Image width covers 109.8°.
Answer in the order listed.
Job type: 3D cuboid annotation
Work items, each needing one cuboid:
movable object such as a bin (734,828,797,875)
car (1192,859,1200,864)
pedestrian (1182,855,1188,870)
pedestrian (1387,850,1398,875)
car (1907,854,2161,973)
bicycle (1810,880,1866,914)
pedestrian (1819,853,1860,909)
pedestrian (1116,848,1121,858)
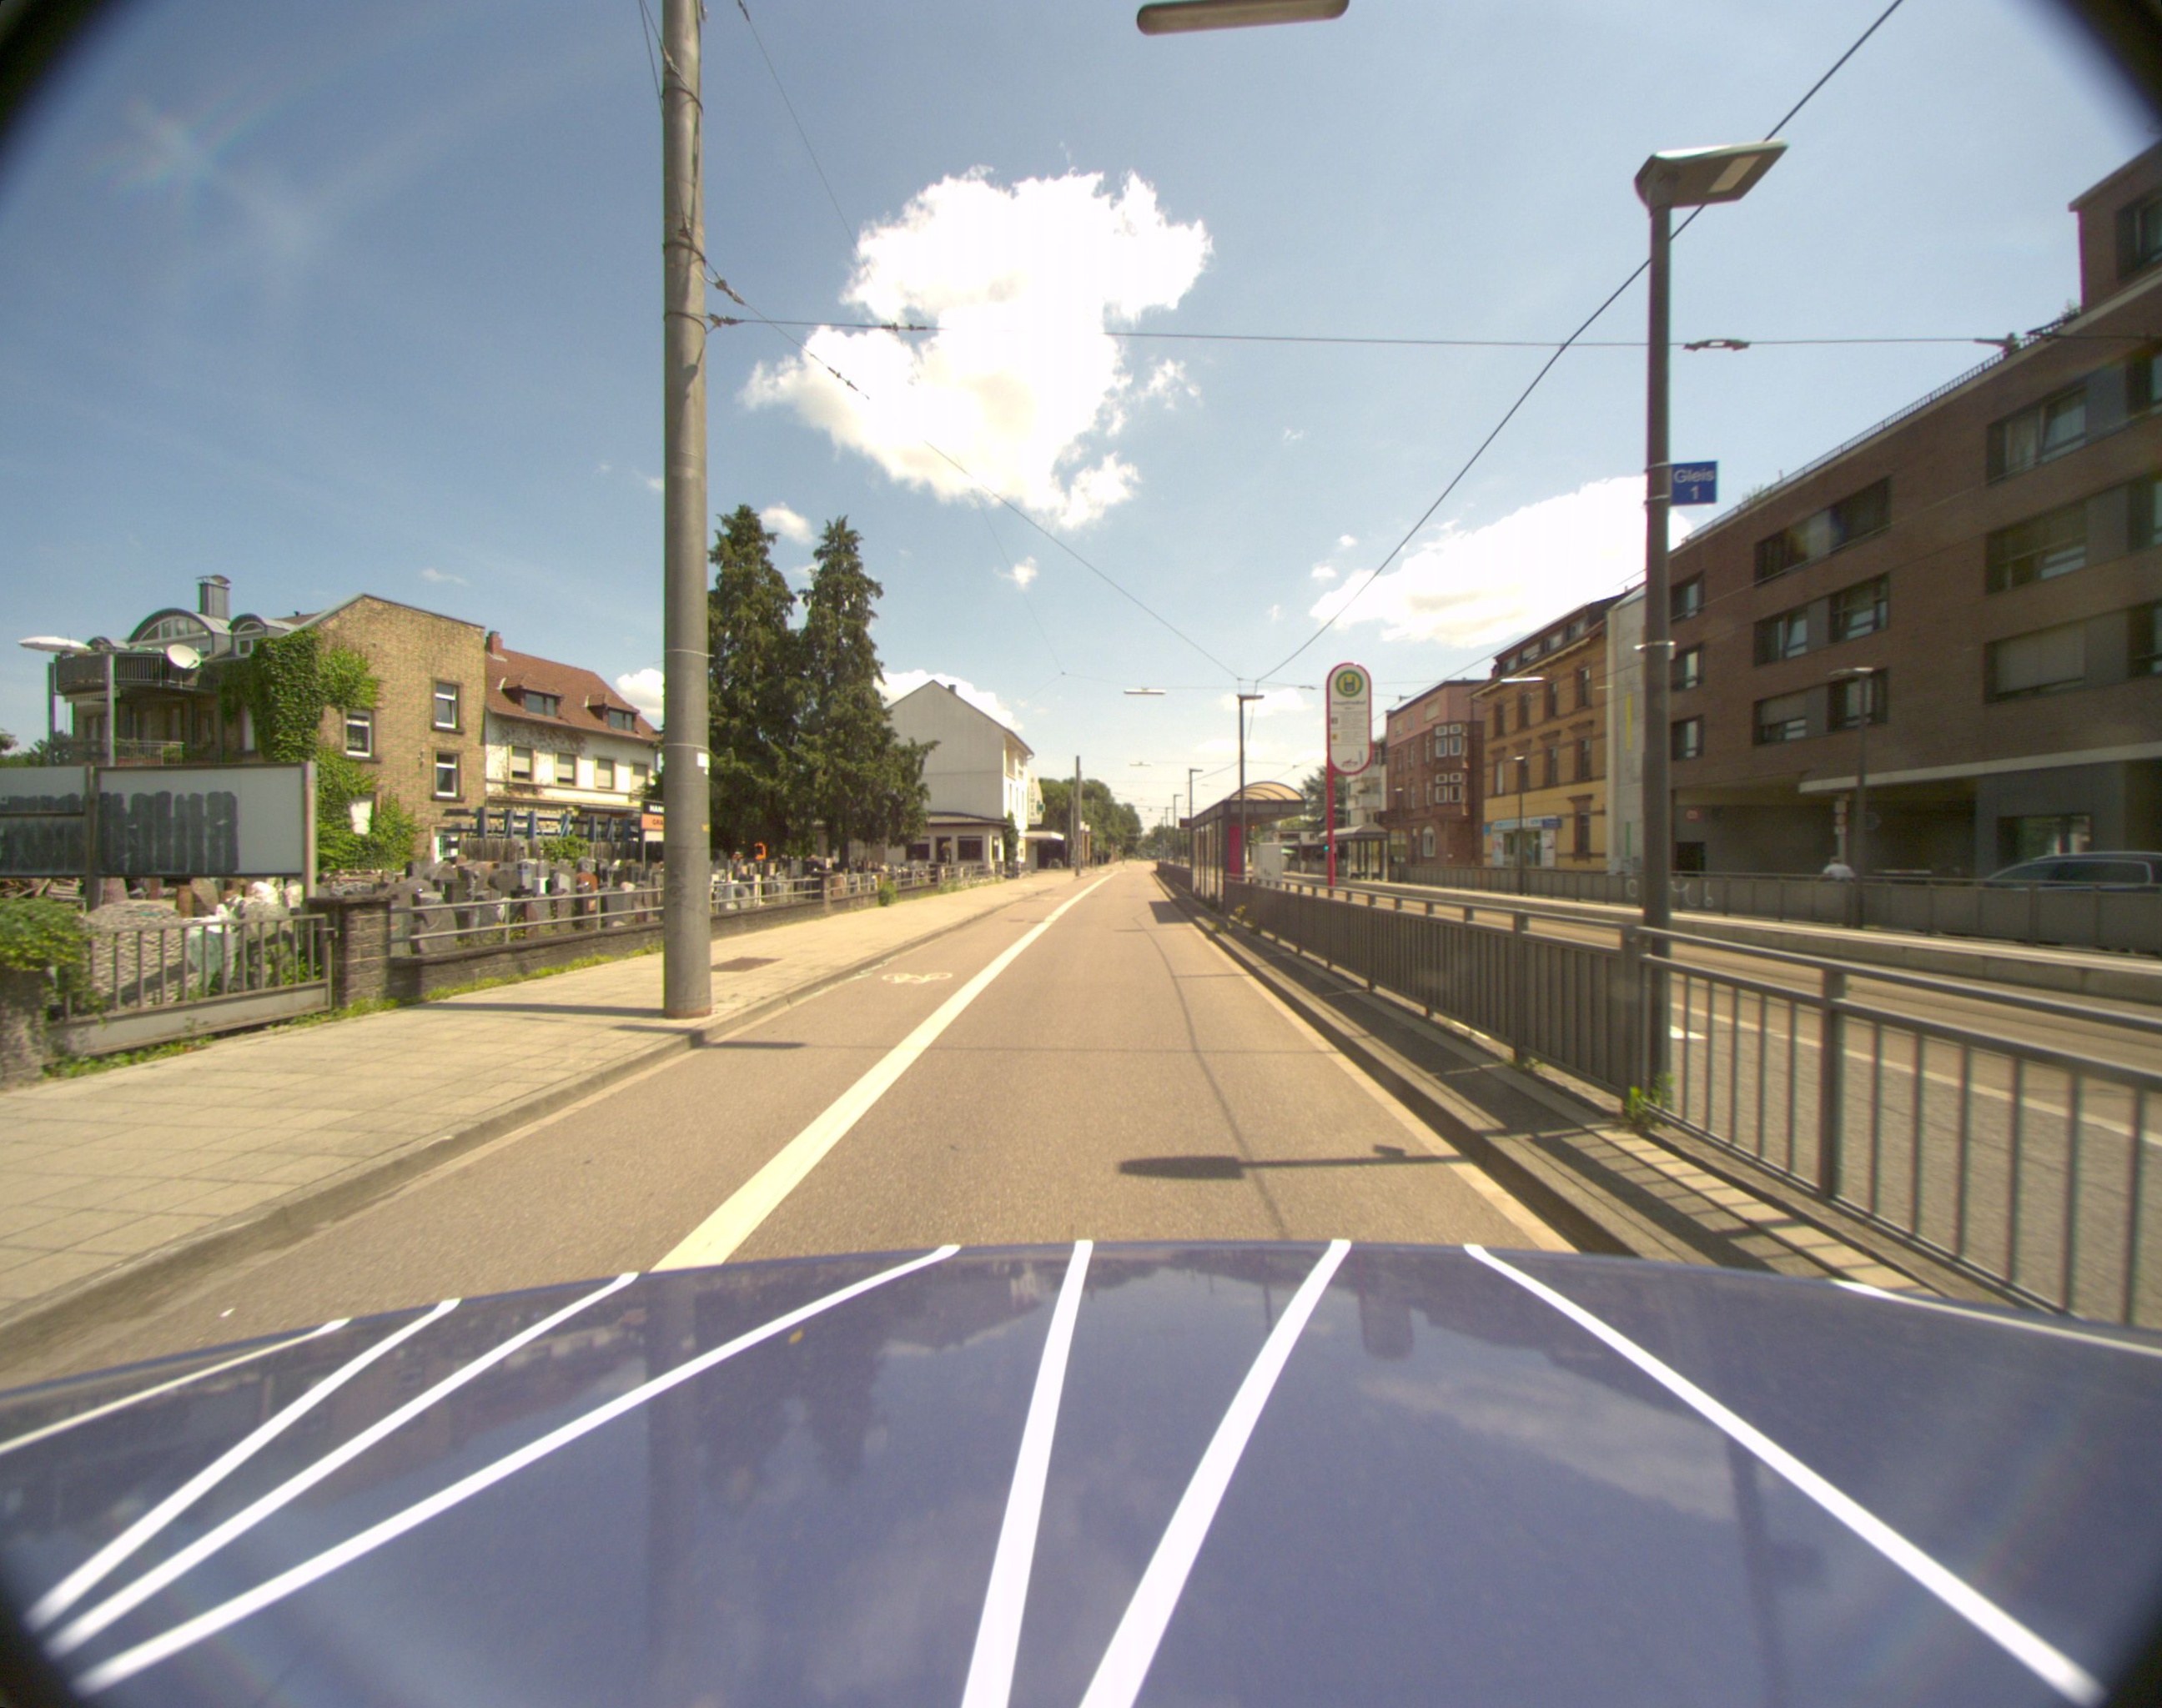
[{"bbox_3d":[-18.419,-0.171,44.523,1.743,2.604,3.810,2,1,6],"label":"movable object such as a bin"},{"bbox_3d":[32.644,2.031,216.122,1.998,1.463,4.402,0,0,4],"label":"car"},{"bbox_3d":[11.168,0.893,81.682,0.578,1.547,0.786,2,1,8],"label":"pedestrian"},{"bbox_3d":[25.400,0.673,61.924,0.619,2.002,0.810,0,1,3],"label":"pedestrian"},{"bbox_3d":[16.094,0.863,12.069,1.841,1.618,3.772,2,1,2],"label":"car"},{"bbox_3d":[19.091,1.073,19.185,0.293,0.757,1.187,2,1,5],"label":"bicycle"},{"bbox_3d":[19.106,0.671,19.150,0.436,1.376,0.536,2,1,4],"label":"pedestrian"},{"bbox_3d":[6.909,-0.229,139.943,0.766,1.841,0.718,0,1,1],"label":"pedestrian"}]
